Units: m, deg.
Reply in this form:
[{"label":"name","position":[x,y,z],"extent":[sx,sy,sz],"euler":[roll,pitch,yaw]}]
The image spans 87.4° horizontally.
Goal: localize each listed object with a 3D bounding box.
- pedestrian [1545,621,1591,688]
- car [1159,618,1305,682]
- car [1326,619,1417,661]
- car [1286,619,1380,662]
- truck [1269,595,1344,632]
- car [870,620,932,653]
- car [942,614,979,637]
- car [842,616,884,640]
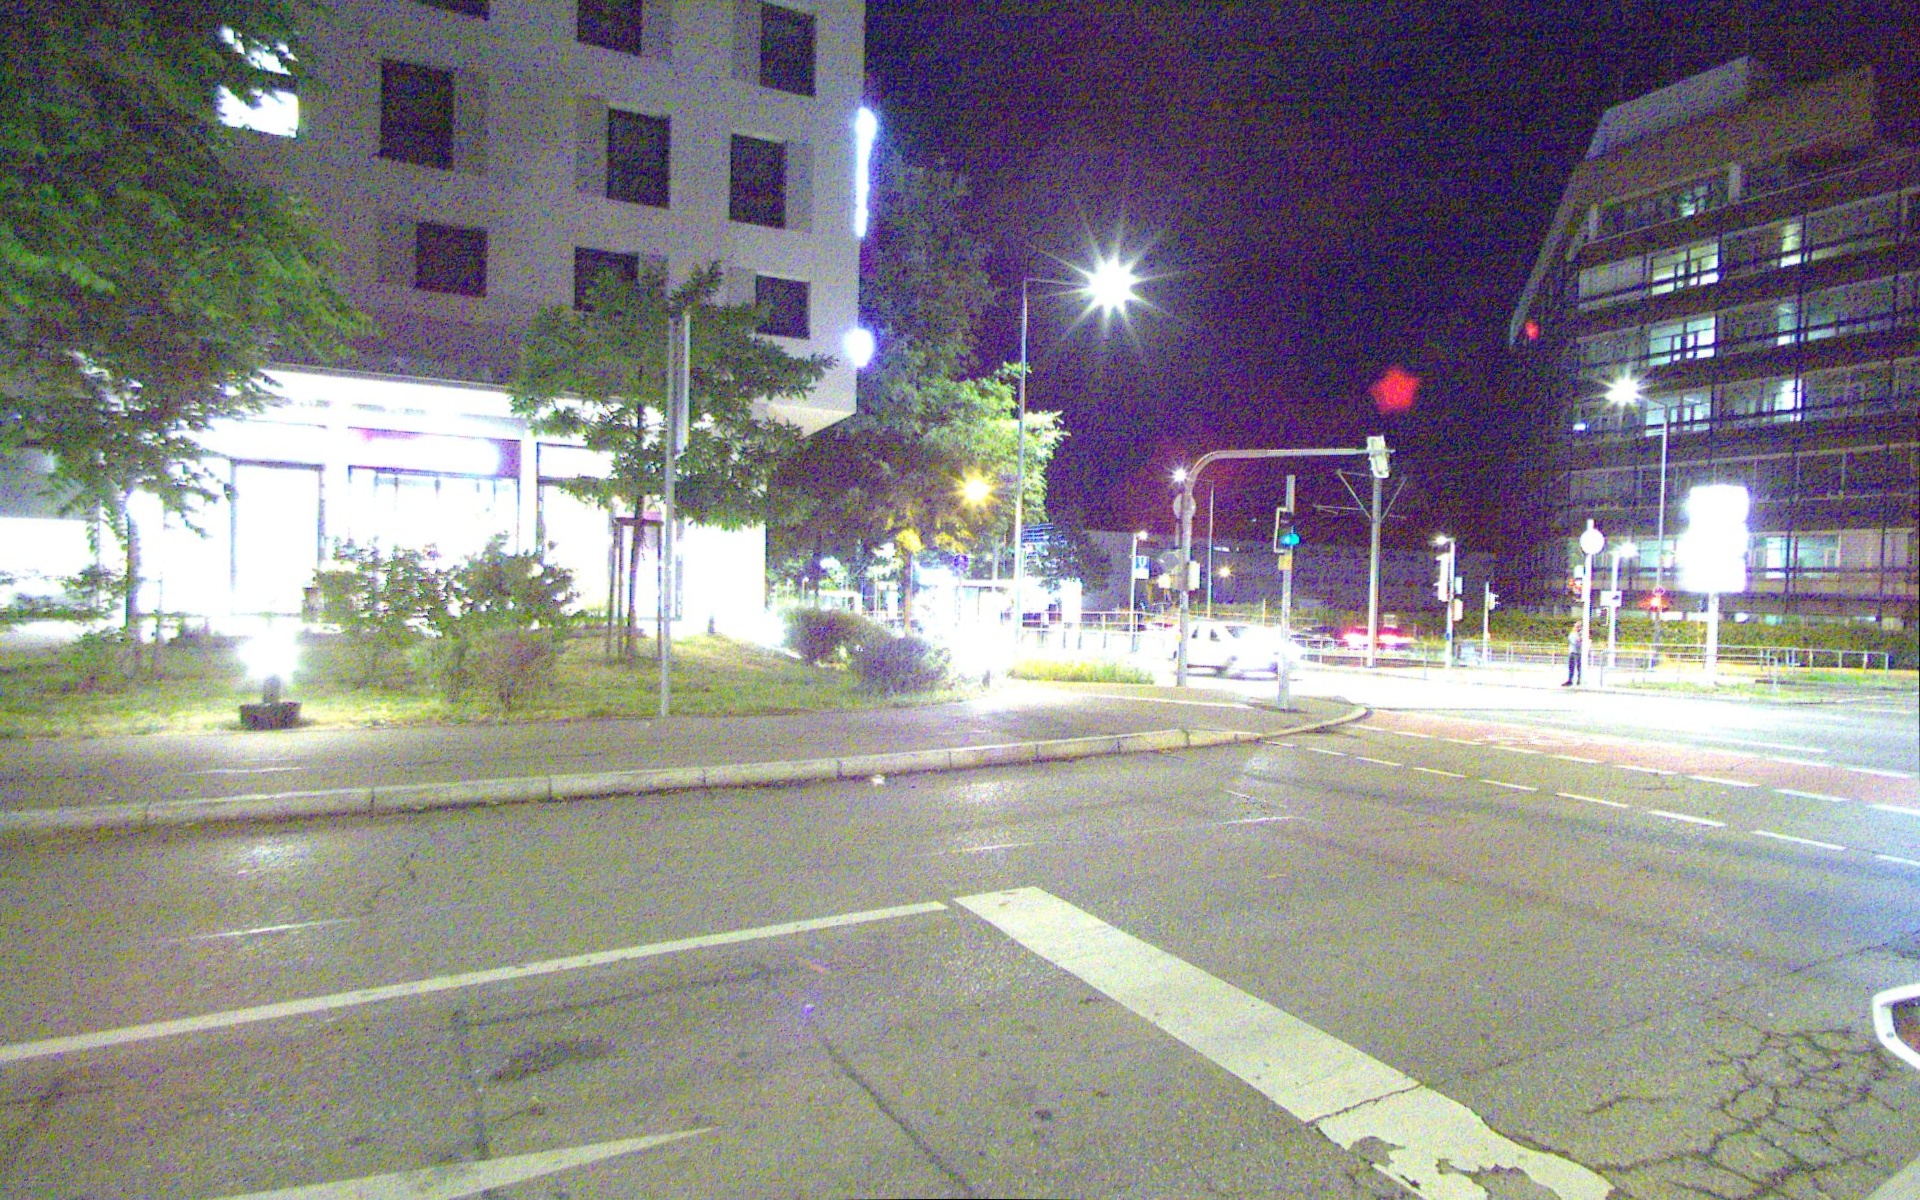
[{"label":"pedestrian","position":[15.558,1.377,25.705],"extent":[0.854,1.656,0.665],"euler":[2,1,-34]},{"label":"car","position":[7.882,1.385,29.500],"extent":[1.850,1.705,4.270],"euler":[0,-1,-25]},{"label":"car","position":[21.037,2.085,51.500],"extent":[1.976,2.040,3.971],"euler":[2,-3,-29]},{"label":"car","position":[18.478,2.011,49.931],"extent":[1.974,2.000,4.168],"euler":[2,-2,-26]},{"label":"truck","position":[30.839,1.177,89.647],"extent":[2.877,3.129,5.873],"euler":[2,0,-28]},{"label":"car","position":[-3.248,1.995,54.506],"extent":[1.787,1.673,4.328],"euler":[-1,-2,-27]},{"label":"car","position":[0.035,2.364,92.867],"extent":[1.973,2.040,3.977],"euler":[2,-3,-24]},{"label":"car","position":[-7.201,2.043,74.124],"extent":[1.837,1.681,4.436],"euler":[0,-1,-23]}]
